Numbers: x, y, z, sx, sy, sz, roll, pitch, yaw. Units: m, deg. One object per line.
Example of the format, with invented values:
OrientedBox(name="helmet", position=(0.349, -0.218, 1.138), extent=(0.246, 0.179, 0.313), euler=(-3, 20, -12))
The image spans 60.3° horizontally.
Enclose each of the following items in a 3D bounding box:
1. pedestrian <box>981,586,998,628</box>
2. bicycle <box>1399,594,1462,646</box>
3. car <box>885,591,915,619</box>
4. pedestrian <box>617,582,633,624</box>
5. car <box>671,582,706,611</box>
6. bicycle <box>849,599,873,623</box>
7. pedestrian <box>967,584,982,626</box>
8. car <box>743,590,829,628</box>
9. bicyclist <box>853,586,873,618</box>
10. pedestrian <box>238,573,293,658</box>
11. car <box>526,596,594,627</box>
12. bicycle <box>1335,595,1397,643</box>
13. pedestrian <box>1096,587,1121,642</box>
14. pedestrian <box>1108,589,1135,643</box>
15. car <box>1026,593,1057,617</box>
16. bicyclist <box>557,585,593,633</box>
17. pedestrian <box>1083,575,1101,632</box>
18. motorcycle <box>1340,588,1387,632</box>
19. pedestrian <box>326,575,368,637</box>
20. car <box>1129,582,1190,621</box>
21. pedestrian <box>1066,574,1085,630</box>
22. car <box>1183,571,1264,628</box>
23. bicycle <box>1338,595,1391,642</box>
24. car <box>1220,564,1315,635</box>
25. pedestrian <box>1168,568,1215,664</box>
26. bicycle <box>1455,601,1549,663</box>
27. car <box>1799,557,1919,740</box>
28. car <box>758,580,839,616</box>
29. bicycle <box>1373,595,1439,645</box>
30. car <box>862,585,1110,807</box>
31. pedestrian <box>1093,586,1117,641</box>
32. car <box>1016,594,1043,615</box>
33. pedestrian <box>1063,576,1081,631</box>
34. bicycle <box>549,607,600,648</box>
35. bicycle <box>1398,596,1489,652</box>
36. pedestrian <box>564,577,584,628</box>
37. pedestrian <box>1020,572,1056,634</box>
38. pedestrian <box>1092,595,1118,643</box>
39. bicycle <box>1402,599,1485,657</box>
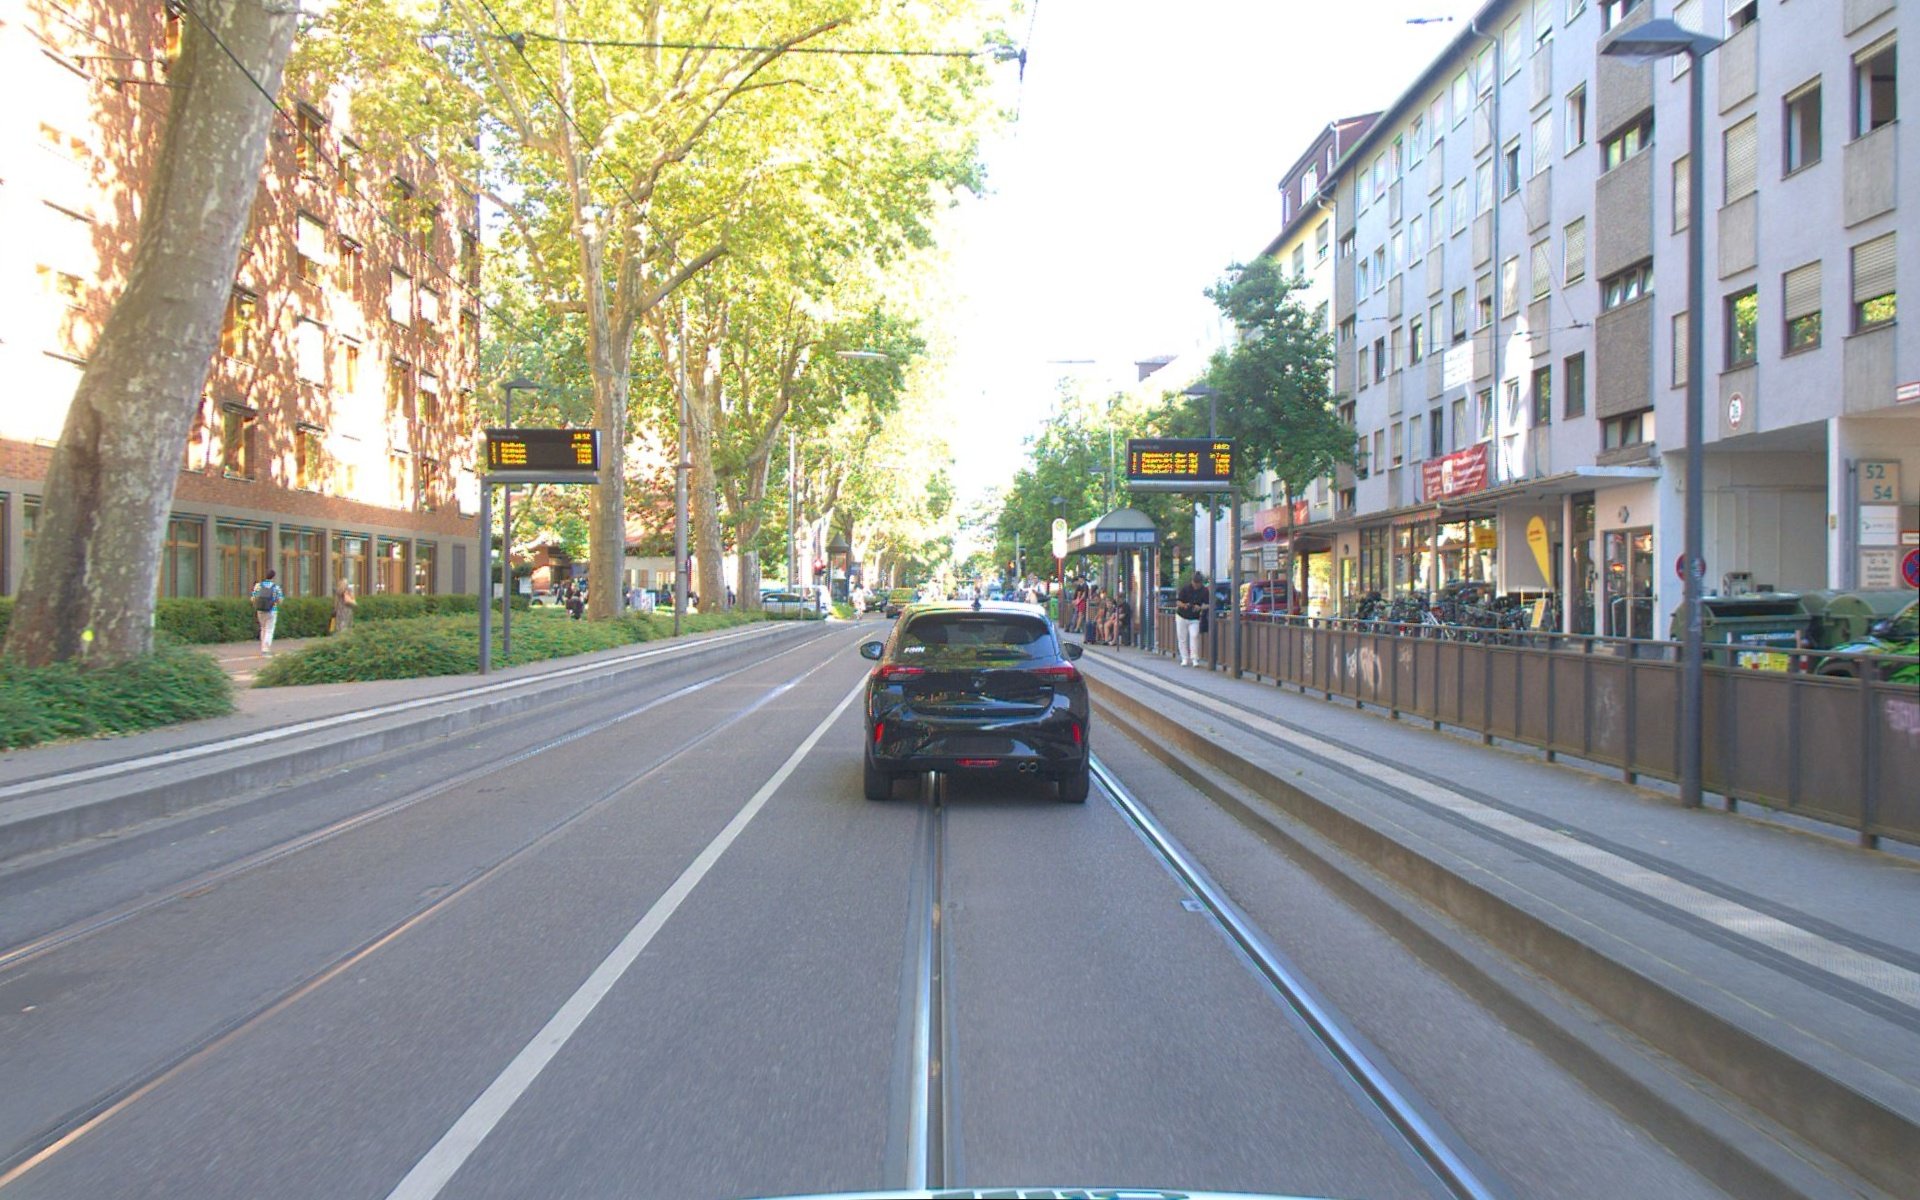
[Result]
OrientedBox(name="pedestrian", position=(1.468, 0.327, 82.350), extent=(0.661, 2.048, 0.702), euler=(2, 0, 11))
OrientedBox(name="bicycle", position=(10.748, 0.443, 37.824), extent=(0.403, 1.156, 2.197), euler=(1, 0, -12))
OrientedBox(name="car", position=(-3.518, 0.315, 97.310), extent=(1.710, 1.571, 3.998), euler=(1, 0, -2))
OrientedBox(name="pedestrian", position=(-16.041, 0.161, 79.238), extent=(0.659, 1.984, 0.497), euler=(2, 0, -4))
OrientedBox(name="car", position=(-20.049, -0.236, 122.435), extent=(1.953, 2.049, 3.999), euler=(1, 0, -1))
OrientedBox(name="bicycle", position=(-5.315, 0.566, 89.053), extent=(0.935, 1.262, 2.978), euler=(1, 0, 2))
OrientedBox(name="pedestrian", position=(0.723, 0.262, 82.501), extent=(0.661, 2.048, 0.701), euler=(2, 0, 5))
OrientedBox(name="car", position=(-8.319, 0.445, 79.008), extent=(4.037, 1.730, 1.880), euler=(1, 0, -8))
OrientedBox(name="bicyclist", position=(-5.282, 0.100, 89.922), extent=(0.921, 1.732, 1.153), euler=(1, 0, 2))
OrientedBox(name="pedestrian", position=(-14.224, 0.314, 33.895), extent=(0.720, 1.701, 0.860), euler=(1, 0, -1))
OrientedBox(name="car", position=(-27.543, 0.807, 113.915), extent=(4.163, 2.049, 2.000), euler=(1, 0, -1))
OrientedBox(name="bicycle", position=(9.992, 0.461, 40.740), extent=(0.587, 1.156, 2.197), euler=(1, 0, -12))
OrientedBox(name="pedestrian", position=(3.642, 0.345, 40.545), extent=(0.523, 1.327, 0.550), euler=(1, -1, -5))
OrientedBox(name="pedestrian", position=(3.801, 0.384, 38.945), extent=(0.523, 1.252, 0.510), euler=(1, -1, -5))
OrientedBox(name="car", position=(5.853, 0.334, 119.555), extent=(1.953, 1.661, 3.999), euler=(1, 0, -1))
OrientedBox(name="bicyclist", position=(-12.325, 0.292, 53.018), extent=(0.935, 1.518, 0.837), euler=(1, 0, -1))
OrientedBox(name="pedestrian", position=(4.162, 0.105, 52.271), extent=(0.520, 1.793, 0.661), euler=(1, -1, 1))
OrientedBox(name="motorcycle", position=(12.111, 0.300, 49.713), extent=(0.874, 1.302, 2.042), euler=(1, 0, -1))
OrientedBox(name="pedestrian", position=(-16.512, 0.165, 44.574), extent=(0.759, 1.633, 0.946), euler=(1, 0, -1))
OrientedBox(name="car", position=(8.151, 0.074, 67.773), extent=(1.953, 1.512, 3.999), euler=(1, 0, -1))
OrientedBox(name="pedestrian", position=(3.589, 0.060, 51.513), extent=(0.520, 1.739, 0.752), euler=(1, 0, 1))
OrientedBox(name="car", position=(8.803, -0.008, 55.549), extent=(1.953, 1.829, 3.999), euler=(1, 0, -2))
OrientedBox(name="bicycle", position=(10.268, 0.470, 42.062), extent=(0.586, 1.156, 2.201), euler=(1, 0, -6))
OrientedBox(name="car", position=(9.047, 0.004, 48.933), extent=(1.953, 1.986, 3.999), euler=(1, 0, -2))
OrientedBox(name="pedestrian", position=(3.979, 0.265, 28.452), extent=(0.618, 1.603, 0.870), euler=(2, 0, -1))
OrientedBox(name="bicycle", position=(10.530, 0.594, 32.208), extent=(0.610, 1.156, 2.432), euler=(1, 0, -12))
OrientedBox(name="car", position=(9.552, 0.448, 14.787), extent=(1.819, 1.644, 4.397), euler=(1, 0, -1))
OrientedBox(name="car", position=(-8.804, -0.117, 89.915), extent=(4.302, 1.884, 1.996), euler=(1, 0, -8))
OrientedBox(name="bicycle", position=(10.700, 0.469, 39.742), extent=(0.587, 1.156, 2.197), euler=(1, 0, -12))
OrientedBox(name="car", position=(0.097, 0.670, 13.359), extent=(1.724, 1.534, 3.681), euler=(0, 0, -3))
OrientedBox(name="pedestrian", position=(3.496, 0.329, 39.991), extent=(0.493, 1.327, 0.428), euler=(1, -1, -5))
OrientedBox(name="car", position=(5.525, 0.377, 132.307), extent=(1.953, 1.661, 3.999), euler=(1, 0, -1))
OrientedBox(name="pedestrian", position=(3.569, 0.098, 52.895), extent=(0.520, 1.739, 0.596), euler=(1, -1, 1))
OrientedBox(name="bicycle", position=(-12.339, 0.866, 53.010), extent=(0.935, 1.262, 2.977), euler=(1, 0, -1))
OrientedBox(name="bicycle", position=(10.508, 0.498, 36.044), extent=(0.600, 1.156, 2.913), euler=(1, 0, -12))
OrientedBox(name="pedestrian", position=(-14.955, 0.093, 64.118), extent=(0.486, 1.984, 0.675), euler=(1, -1, 11))
OrientedBox(name="pedestrian", position=(2.236, 0.089, 47.401), extent=(0.736, 1.739, 0.761), euler=(1, -1, 34))
OrientedBox(name="pedestrian", position=(3.462, 0.445, 39.461), extent=(0.523, 1.119, 0.550), euler=(1, 0, -5))
OrientedBox(name="bicycle", position=(10.103, 0.571, 34.640), extent=(0.592, 1.156, 2.427), euler=(1, 0, -12))
